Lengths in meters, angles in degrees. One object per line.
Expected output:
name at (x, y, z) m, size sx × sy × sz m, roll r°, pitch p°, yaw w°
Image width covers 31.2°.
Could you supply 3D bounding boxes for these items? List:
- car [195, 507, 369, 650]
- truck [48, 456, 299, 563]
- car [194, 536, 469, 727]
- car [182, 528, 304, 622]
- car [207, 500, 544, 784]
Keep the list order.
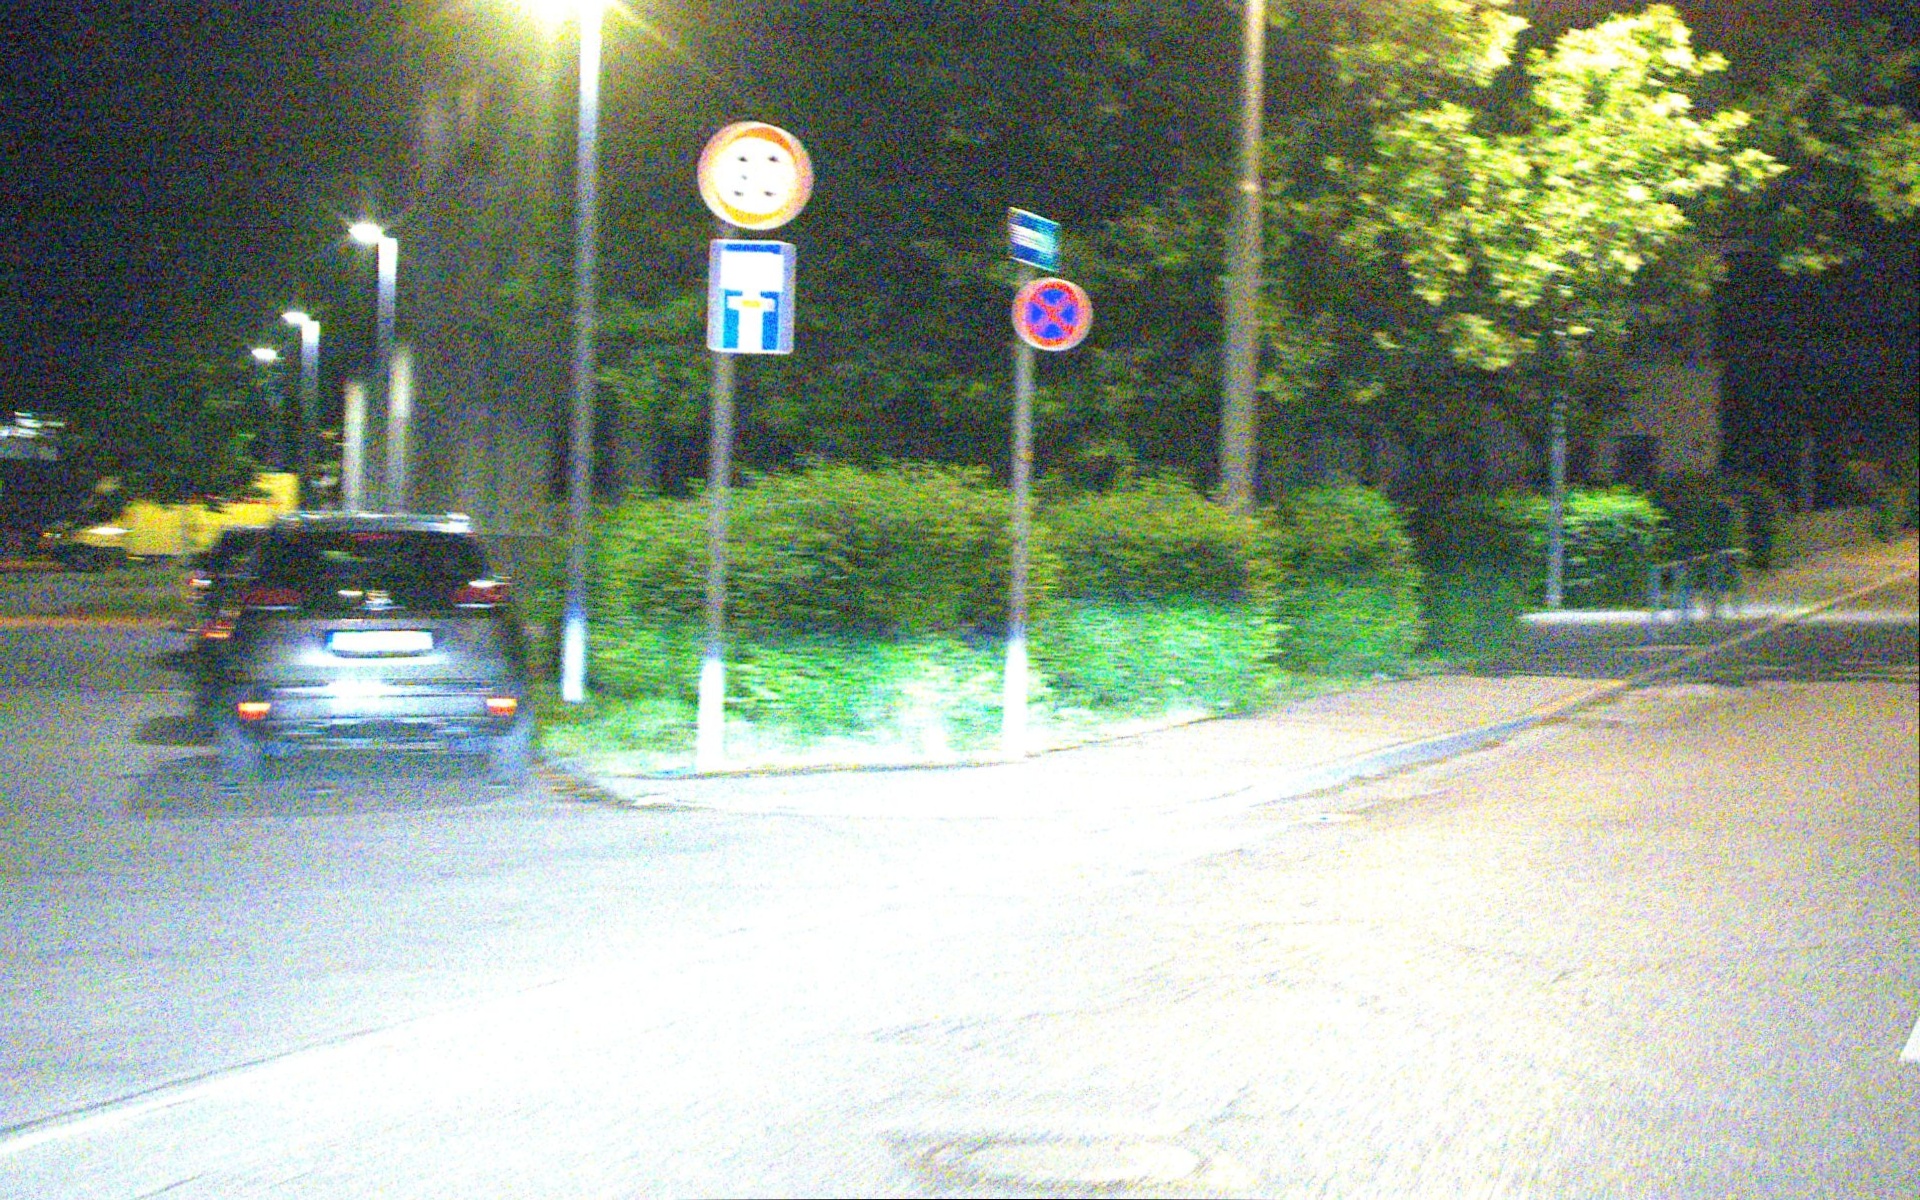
car at (-8.794, -0.303, 44.328) m, size 2.039 × 1.688 × 4.883 m, roll -2°, pitch 1°, yaw -12°
truck at (-22.214, -2.539, 97.055) m, size 6.774 × 2.834 × 2.001 m, roll 1°, pitch 1°, yaw -16°
car at (-4.995, 0.210, 26.934) m, size 1.963 × 1.378 × 4.001 m, roll 0°, pitch 1°, yaw -13°
car at (-11.476, -0.424, 54.880) m, size 1.757 × 1.440 × 4.027 m, roll 0°, pitch 1°, yaw -14°
car at (-3.747, 0.200, 21.800) m, size 1.884 × 1.597 × 4.108 m, roll -1°, pitch 1°, yaw -11°
